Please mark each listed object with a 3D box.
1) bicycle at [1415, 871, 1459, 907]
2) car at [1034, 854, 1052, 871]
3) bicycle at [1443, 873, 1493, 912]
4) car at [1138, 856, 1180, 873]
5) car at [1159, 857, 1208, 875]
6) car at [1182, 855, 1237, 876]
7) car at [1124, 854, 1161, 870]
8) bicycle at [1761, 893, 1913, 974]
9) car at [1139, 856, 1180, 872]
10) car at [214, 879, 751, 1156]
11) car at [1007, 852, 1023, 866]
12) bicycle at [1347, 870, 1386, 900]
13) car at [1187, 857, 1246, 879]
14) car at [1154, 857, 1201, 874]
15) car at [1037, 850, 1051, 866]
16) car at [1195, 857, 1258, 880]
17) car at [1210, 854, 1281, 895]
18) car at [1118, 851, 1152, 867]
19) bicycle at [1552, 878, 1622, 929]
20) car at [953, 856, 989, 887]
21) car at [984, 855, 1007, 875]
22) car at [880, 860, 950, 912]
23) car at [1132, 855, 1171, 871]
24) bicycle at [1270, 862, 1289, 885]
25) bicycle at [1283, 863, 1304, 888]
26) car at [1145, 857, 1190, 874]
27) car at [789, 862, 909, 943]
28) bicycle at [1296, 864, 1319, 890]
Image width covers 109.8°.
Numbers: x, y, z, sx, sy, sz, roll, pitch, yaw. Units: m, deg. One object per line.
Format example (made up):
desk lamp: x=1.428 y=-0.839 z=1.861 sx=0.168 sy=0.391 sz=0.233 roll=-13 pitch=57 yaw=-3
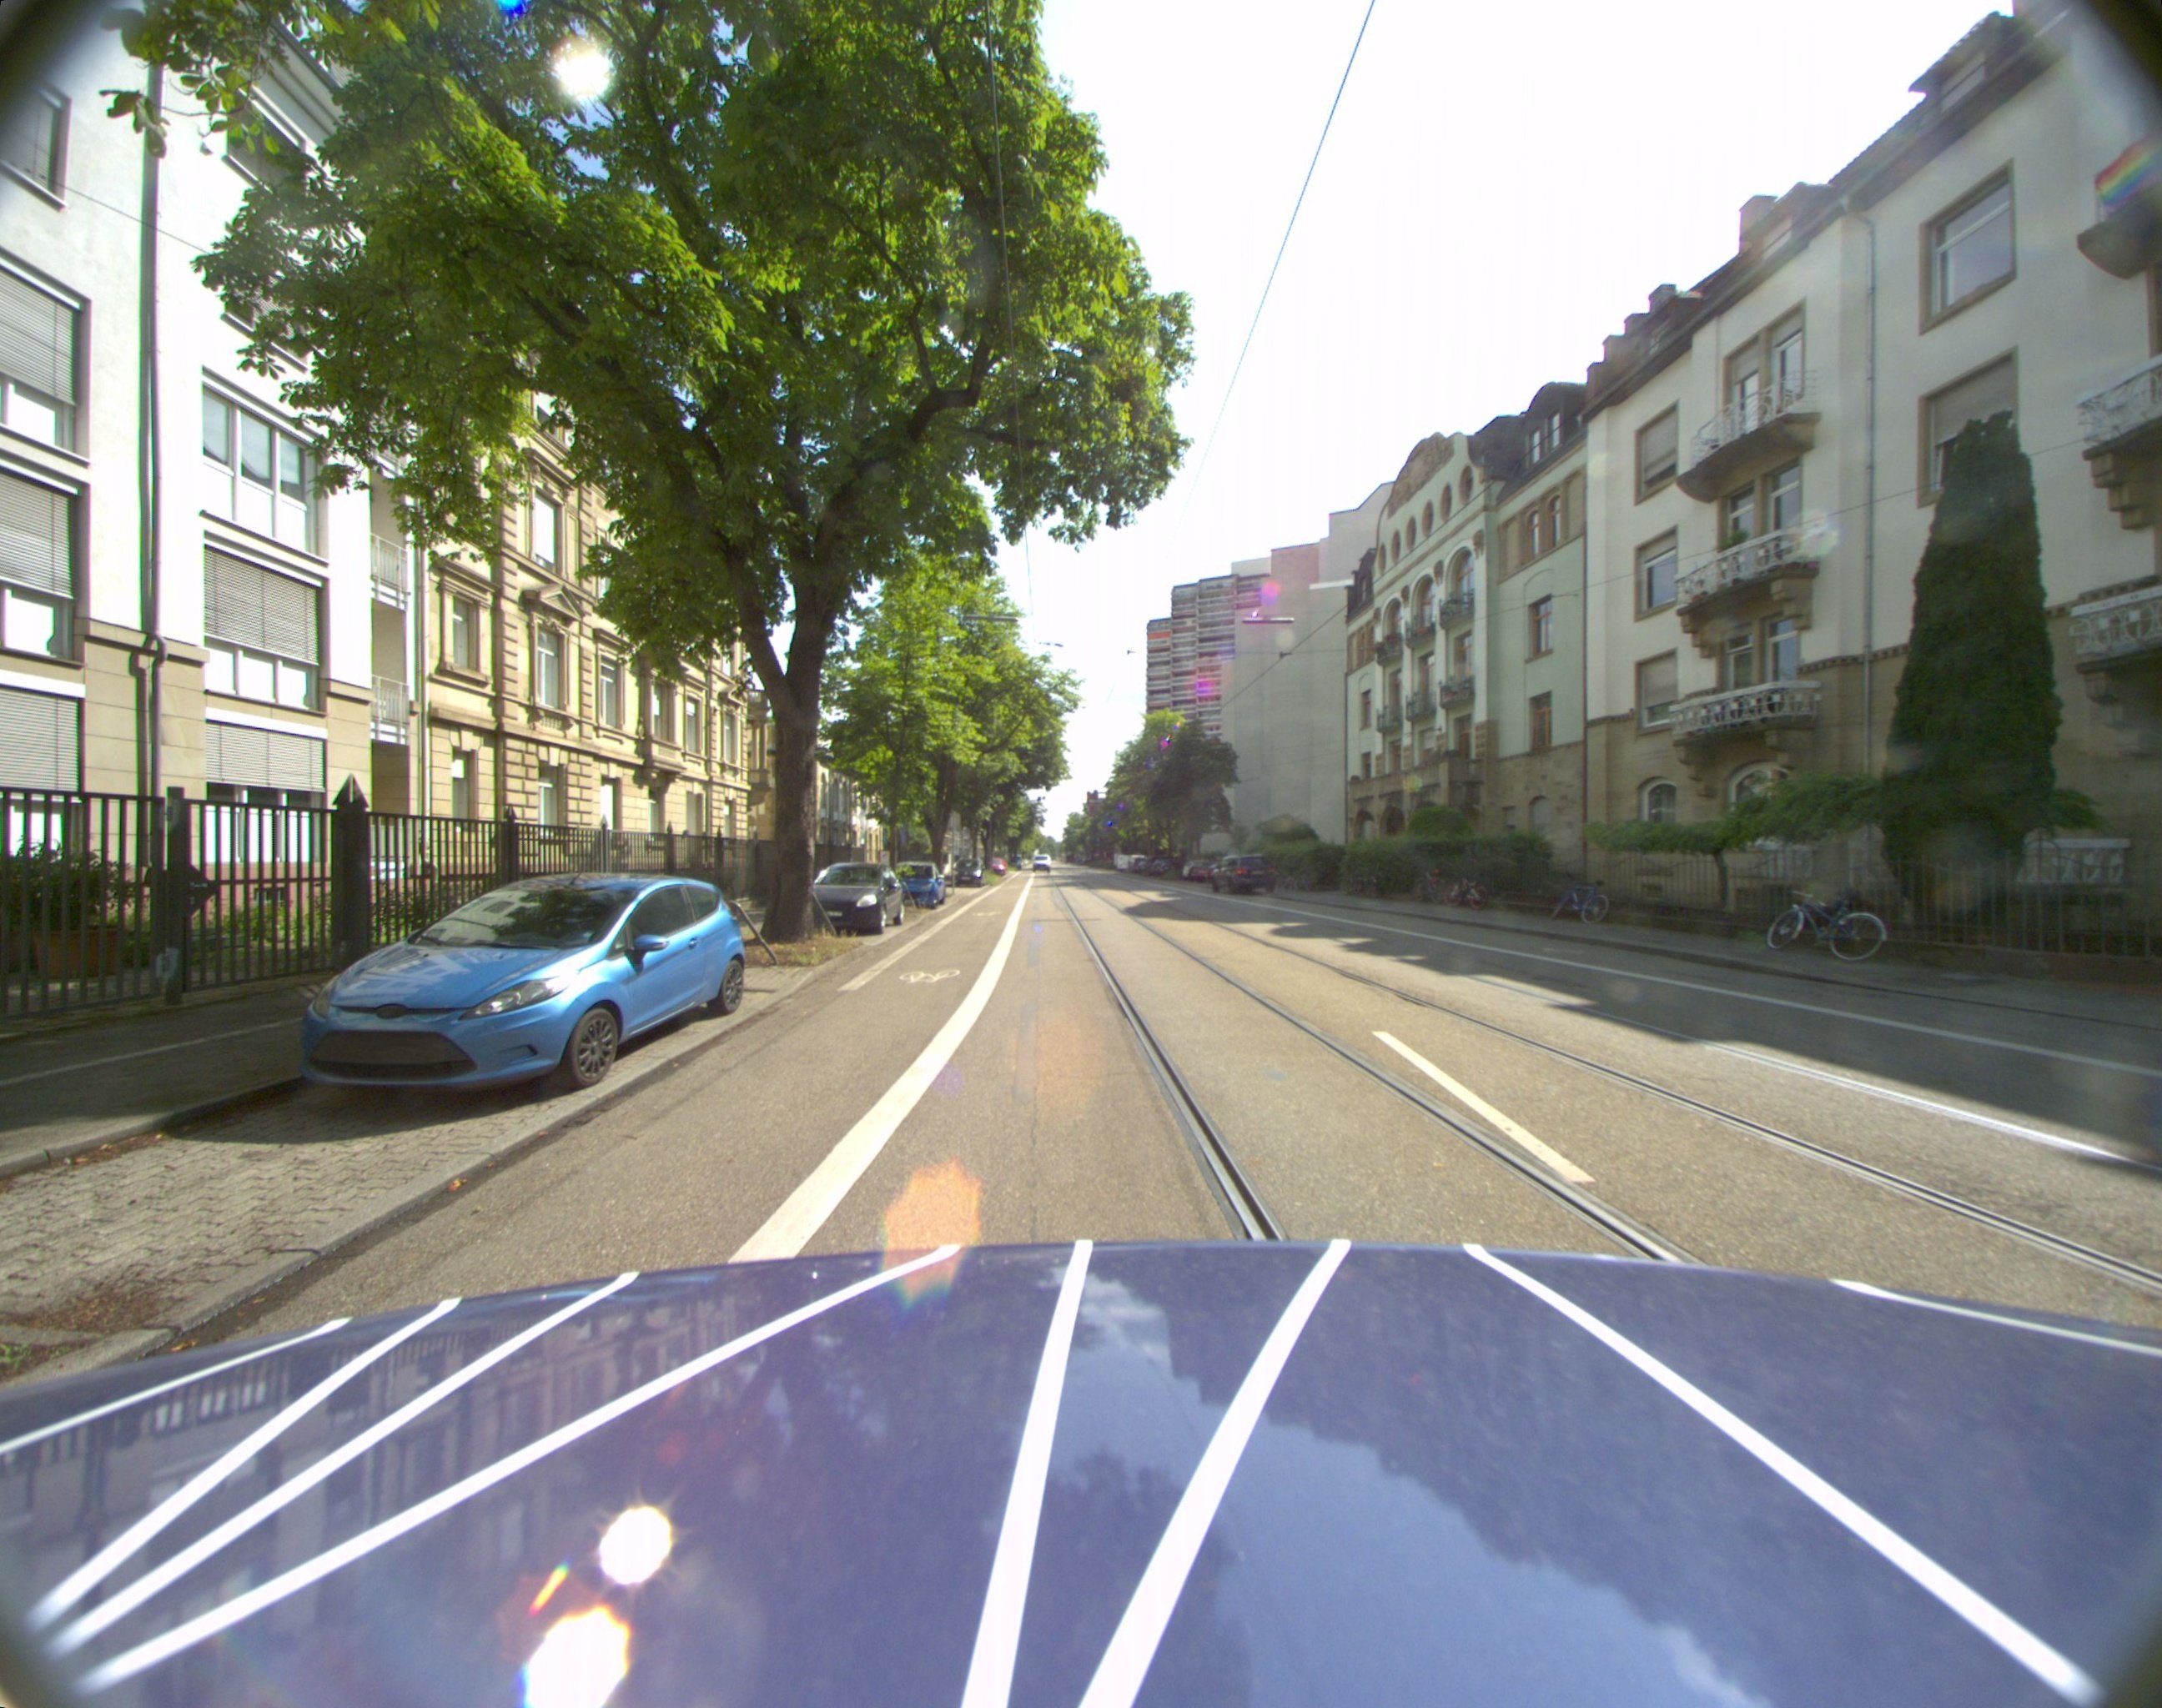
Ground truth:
bicycle: x=10.689 y=1.032 z=22.877 sx=0.468 sy=0.990 sz=1.787 roll=0 pitch=0 yaw=-1
car: x=-4.198 y=0.907 z=84.154 sx=1.974 sy=1.901 sz=4.817 roll=0 pitch=0 yaw=-2
bicycle: x=10.652 y=1.038 z=20.979 sx=0.468 sy=0.990 sz=1.787 roll=0 pitch=0 yaw=-1
car: x=7.465 y=0.996 z=72.487 sx=3.994 sy=1.499 sz=2.001 roll=0 pitch=0 yaw=8
car: x=8.471 y=0.970 z=63.003 sx=3.994 sy=1.499 sz=2.001 roll=0 pitch=0 yaw=8
car: x=9.617 y=0.868 z=56.956 sx=3.994 sy=1.499 sz=2.001 roll=0 pitch=0 yaw=8
car: x=6.787 y=0.895 z=83.546 sx=3.994 sy=1.672 sz=2.001 roll=0 pitch=0 yaw=8
bicycle: x=11.096 y=1.123 z=11.250 sx=0.467 sy=0.990 sz=1.979 roll=0 pitch=0 yaw=7
car: x=7.791 y=0.994 z=75.648 sx=3.994 sy=1.499 sz=2.001 roll=0 pitch=0 yaw=8
car: x=-4.319 y=1.037 z=6.323 sx=1.647 sy=1.467 sz=3.660 roll=3 pitch=0 yaw=-3
car: x=-7.884 y=0.556 z=91.041 sx=1.744 sy=1.564 sz=3.928 roll=3 pitch=0 yaw=-4
bicycle: x=10.099 y=1.066 z=26.964 sx=0.605 sy=0.990 sz=1.981 roll=0 pitch=0 yaw=-1
car: x=9.483 y=0.951 z=53.407 sx=3.994 sy=1.499 sz=2.001 roll=0 pitch=0 yaw=8
car: x=8.372 y=0.983 z=66.159 sx=3.994 sy=1.499 sz=2.001 roll=0 pitch=0 yaw=8
car: x=-6.076 y=0.645 z=124.396 sx=2.146 sy=2.568 sz=4.817 roll=0 pitch=0 yaw=-2
car: x=9.520 y=0.942 z=49.899 sx=3.994 sy=1.499 sz=2.001 roll=0 pitch=0 yaw=8
car: x=7.240 y=0.854 z=33.934 sx=1.922 sy=1.685 sz=4.400 roll=0 pitch=0 yaw=-5
car: x=6.364 y=0.555 z=89.381 sx=1.994 sy=1.740 sz=4.008 roll=-1 pitch=1 yaw=41
bicycle: x=10.946 y=1.050 z=16.495 sx=0.467 sy=0.990 sz=1.787 roll=0 pitch=0 yaw=5
car: x=-6.248 y=0.969 z=43.412 sx=1.744 sy=1.564 sz=3.659 roll=3 pitch=0 yaw=-4
car: x=-7.417 y=0.919 z=66.367 sx=1.744 sy=1.564 sz=3.928 roll=3 pitch=0 yaw=-4
car: x=-5.335 y=0.995 z=24.835 sx=1.679 sy=1.467 sz=3.659 roll=3 pitch=0 yaw=-4
car: x=7.372 y=0.912 z=79.121 sx=3.994 sy=1.672 sz=2.001 roll=0 pitch=0 yaw=8
bicycle: x=9.958 y=0.955 z=38.114 sx=0.468 sy=1.128 sz=1.787 roll=0 pitch=0 yaw=-1
bicycle: x=10.059 y=0.999 z=36.017 sx=0.468 sy=1.128 sz=1.787 roll=0 pitch=0 yaw=-1
car: x=7.872 y=1.021 z=69.278 sx=3.994 sy=1.499 sz=2.001 roll=0 pitch=0 yaw=8
car: x=-4.921 y=0.968 z=16.621 sx=1.679 sy=1.467 sz=3.659 roll=3 pitch=0 yaw=-4
bicycle: x=10.142 y=1.020 z=34.075 sx=0.468 sy=1.128 sz=1.787 roll=0 pitch=0 yaw=-1
